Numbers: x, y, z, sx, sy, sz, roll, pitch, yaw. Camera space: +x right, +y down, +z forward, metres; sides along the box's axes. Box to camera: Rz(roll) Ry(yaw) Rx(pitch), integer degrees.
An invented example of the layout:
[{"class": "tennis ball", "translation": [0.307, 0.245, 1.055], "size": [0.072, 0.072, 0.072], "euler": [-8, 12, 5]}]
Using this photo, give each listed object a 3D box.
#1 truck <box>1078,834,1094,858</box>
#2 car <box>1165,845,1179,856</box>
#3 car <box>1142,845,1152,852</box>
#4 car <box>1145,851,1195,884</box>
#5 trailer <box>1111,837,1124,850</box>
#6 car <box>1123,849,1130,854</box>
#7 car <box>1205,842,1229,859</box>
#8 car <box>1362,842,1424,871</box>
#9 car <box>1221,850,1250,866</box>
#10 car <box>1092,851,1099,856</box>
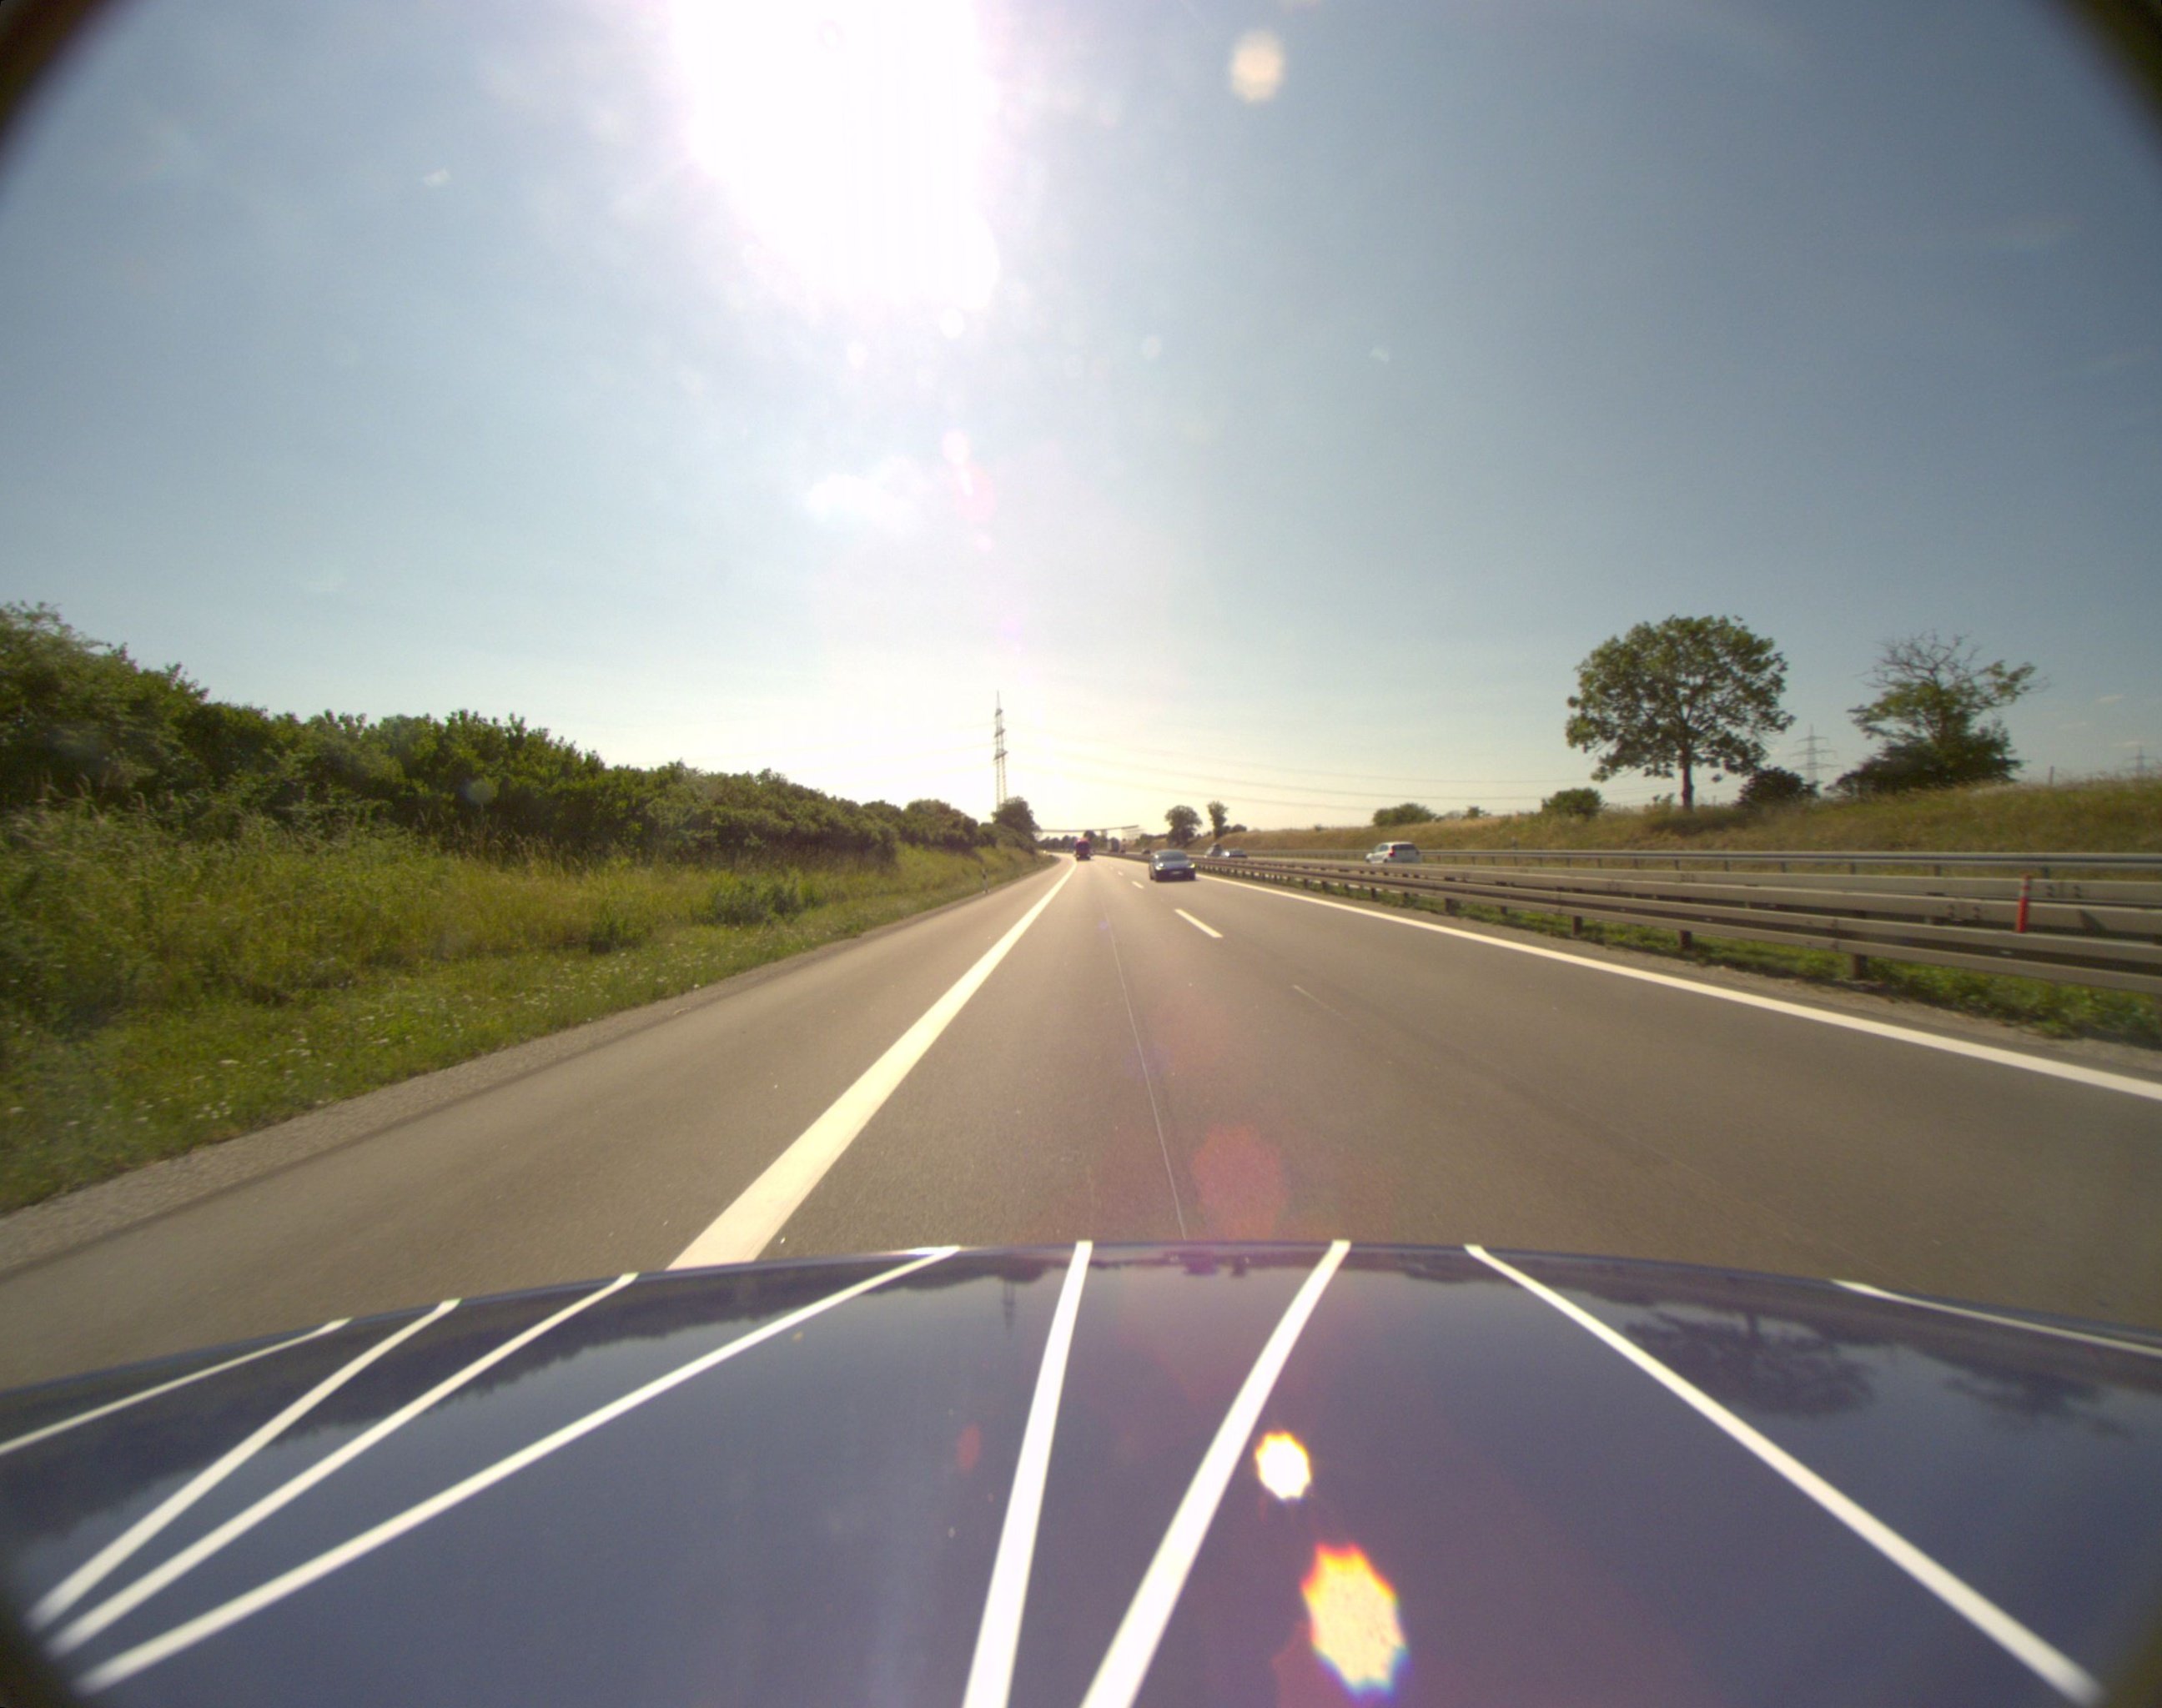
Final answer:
[{"class": "truck", "translation": [0.812, -1.454, 137.163], "size": [2.571, 3.939, 8.642], "euler": [-3, 1, 0]}, {"class": "car", "translation": [13.226, -0.508, 110.865], "size": [1.620, 1.522, 4.000], "euler": [-3, 1, 1]}, {"class": "car", "translation": [15.129, -1.207, 175.004], "size": [1.729, 1.459, 5.240], "euler": [-3, 1, 1]}, {"class": "car", "translation": [4.251, 0.577, 37.062], "size": [1.852, 1.424, 5.865], "euler": [-1, 1, 1]}, {"class": "trailer", "translation": [12.582, -3.561, 262.446], "size": [3.624, 3.976, 14.045], "euler": [-3, 1, 0]}, {"class": "car", "translation": [13.876, -0.816, 232.943], "size": [1.910, 1.352, 4.553], "euler": [-3, 1, 0]}, {"class": "car", "translation": [16.537, -0.451, 92.713], "size": [1.950, 1.835, 5.183], "euler": [-3, 1, 1]}, {"class": "car", "translation": [16.104, 0.108, 39.429], "size": [1.526, 1.344, 4.232], "euler": [-2, 0, 1]}, {"class": "car", "translation": [12.009, 0.264, 59.159], "size": [1.526, 1.150, 3.765], "euler": [-2, 0, 1]}, {"class": "car", "translation": [3.882, -0.162, 204.372], "size": [1.860, 1.361, 3.999], "euler": [-1, 1, 0]}]
